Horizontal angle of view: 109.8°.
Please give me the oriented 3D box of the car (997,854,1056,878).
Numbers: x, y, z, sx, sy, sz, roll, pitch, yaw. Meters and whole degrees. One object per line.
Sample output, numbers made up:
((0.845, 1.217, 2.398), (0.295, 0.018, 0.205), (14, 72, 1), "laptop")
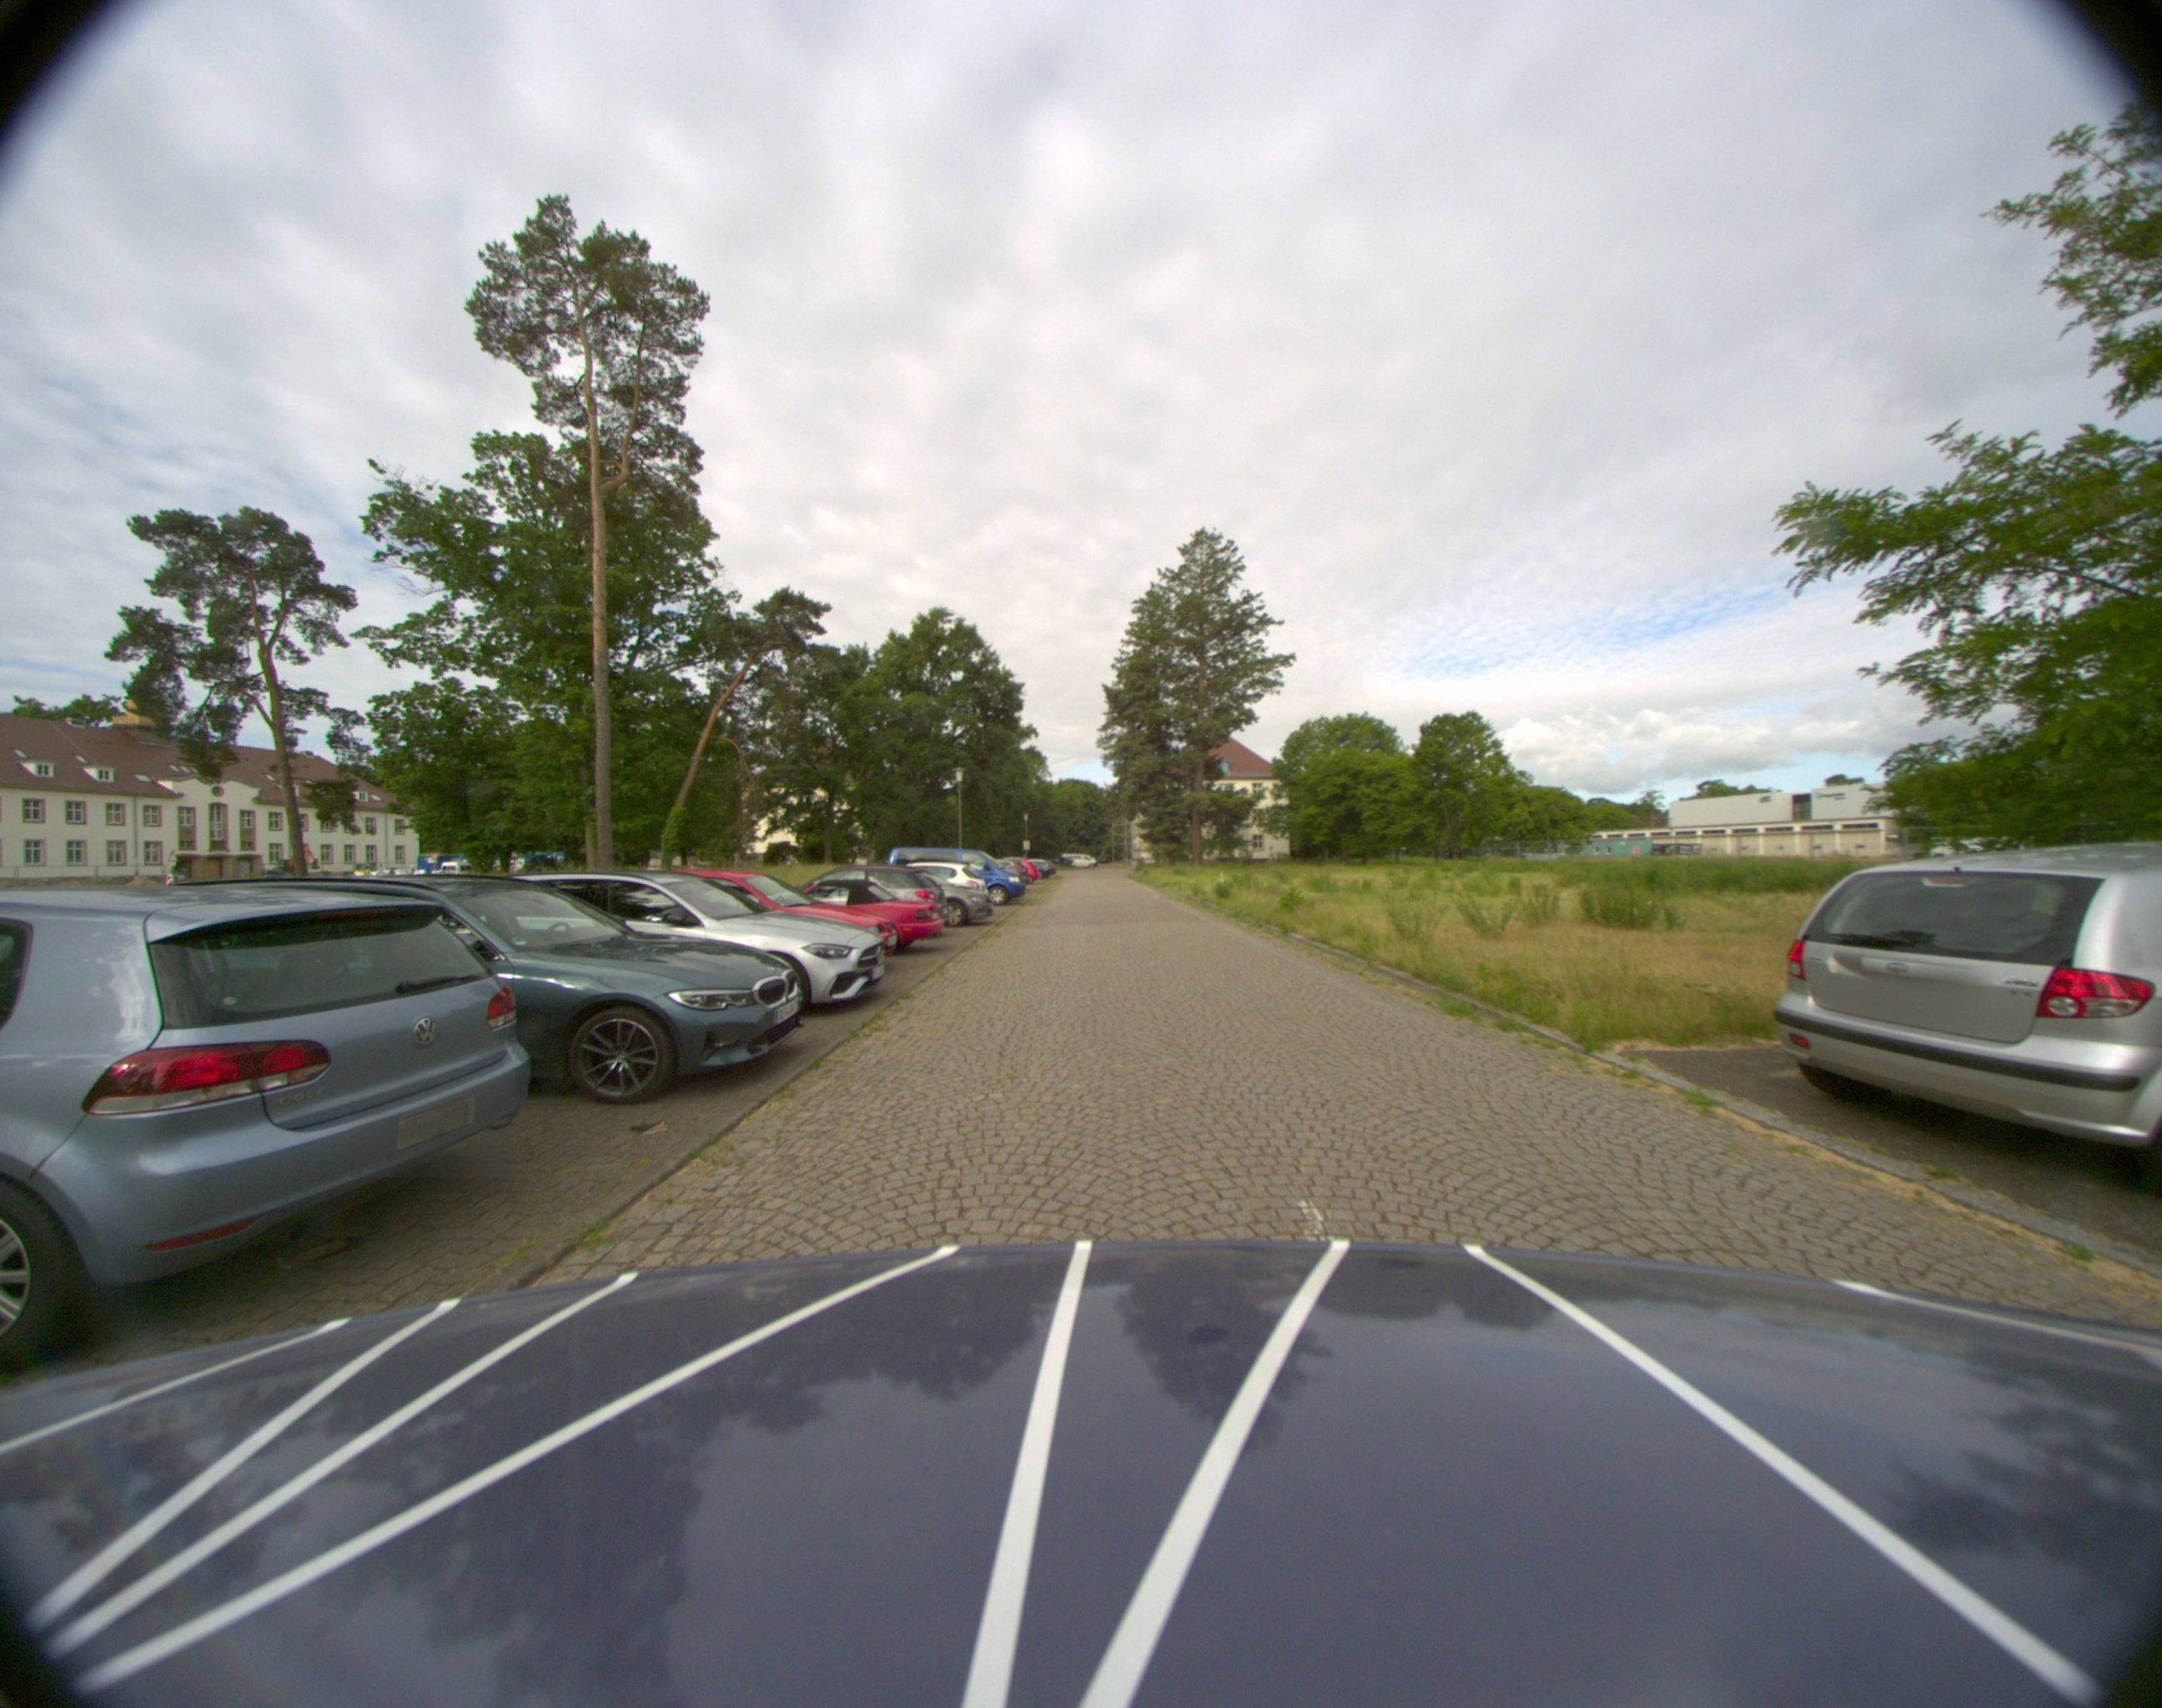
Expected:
((-4.020, 0.875, 56.342), (4.081, 1.685, 1.727), (0, 0, 8), "car")

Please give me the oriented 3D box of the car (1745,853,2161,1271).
((5.970, 0.761, 3.790), (3.960, 1.462, 1.584), (-3, 1, -2), "car")

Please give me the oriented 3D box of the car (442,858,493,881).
((-67.494, 1.672, 83.716), (1.862, 2.351, 4.447), (-2, 1, 1), "car")

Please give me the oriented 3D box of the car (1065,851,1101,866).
((0.286, 0.665, 109.666), (5.149, 2.137, 1.774), (0, 0, -2), "car")

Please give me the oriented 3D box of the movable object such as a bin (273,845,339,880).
((-87.772, 0.965, 86.089), (5.458, 3.748, 2.053), (-2, 1, 4), "movable object such as a bin")

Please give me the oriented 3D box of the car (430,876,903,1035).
((-4.281, 1.008, 8.282), (4.246, 1.465, 1.717), (0, 0, 3), "car")

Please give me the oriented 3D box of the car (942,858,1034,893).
((-4.324, 0.989, 35.680), (4.083, 1.584, 1.655), (0, 0, 3), "car")

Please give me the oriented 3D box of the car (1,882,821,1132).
((-4.417, 0.985, 5.537), (4.439, 1.375, 1.664), (2, 0, -1), "car")

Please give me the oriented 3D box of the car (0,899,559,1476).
((-4.615, 0.952, 2.911), (4.011, 1.420, 1.698), (2, 0, -1), "car")

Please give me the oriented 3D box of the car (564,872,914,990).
((-4.657, 1.026, 10.762), (4.183, 1.473, 1.717), (0, 0, 1), "car")

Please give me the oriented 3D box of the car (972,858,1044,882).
((-4.383, 0.956, 45.997), (4.083, 1.436, 1.727), (0, 0, 2), "car")

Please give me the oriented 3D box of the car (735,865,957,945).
((-4.733, 0.996, 15.618), (4.049, 1.507, 1.601), (0, 0, 3), "car")

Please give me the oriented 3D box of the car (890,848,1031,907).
((-4.161, 0.783, 26.775), (4.601, 1.994, 1.912), (0, 1, 2), "car")

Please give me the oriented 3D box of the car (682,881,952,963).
((-4.369, 1.118, 12.947), (4.050, 1.233, 1.550), (0, 0, 1), "car")

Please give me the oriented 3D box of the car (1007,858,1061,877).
((-3.766, 1.059, 61.031), (4.091, 1.524, 1.727), (0, 0, 8), "car")

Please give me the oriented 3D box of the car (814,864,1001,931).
((-4.128, 1.008, 18.438), (4.096, 1.507, 1.700), (0, 0, 3), "car")

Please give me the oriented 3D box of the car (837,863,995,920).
((-4.579, 1.013, 21.365), (4.049, 1.507, 1.601), (0, 0, 3), "car")
